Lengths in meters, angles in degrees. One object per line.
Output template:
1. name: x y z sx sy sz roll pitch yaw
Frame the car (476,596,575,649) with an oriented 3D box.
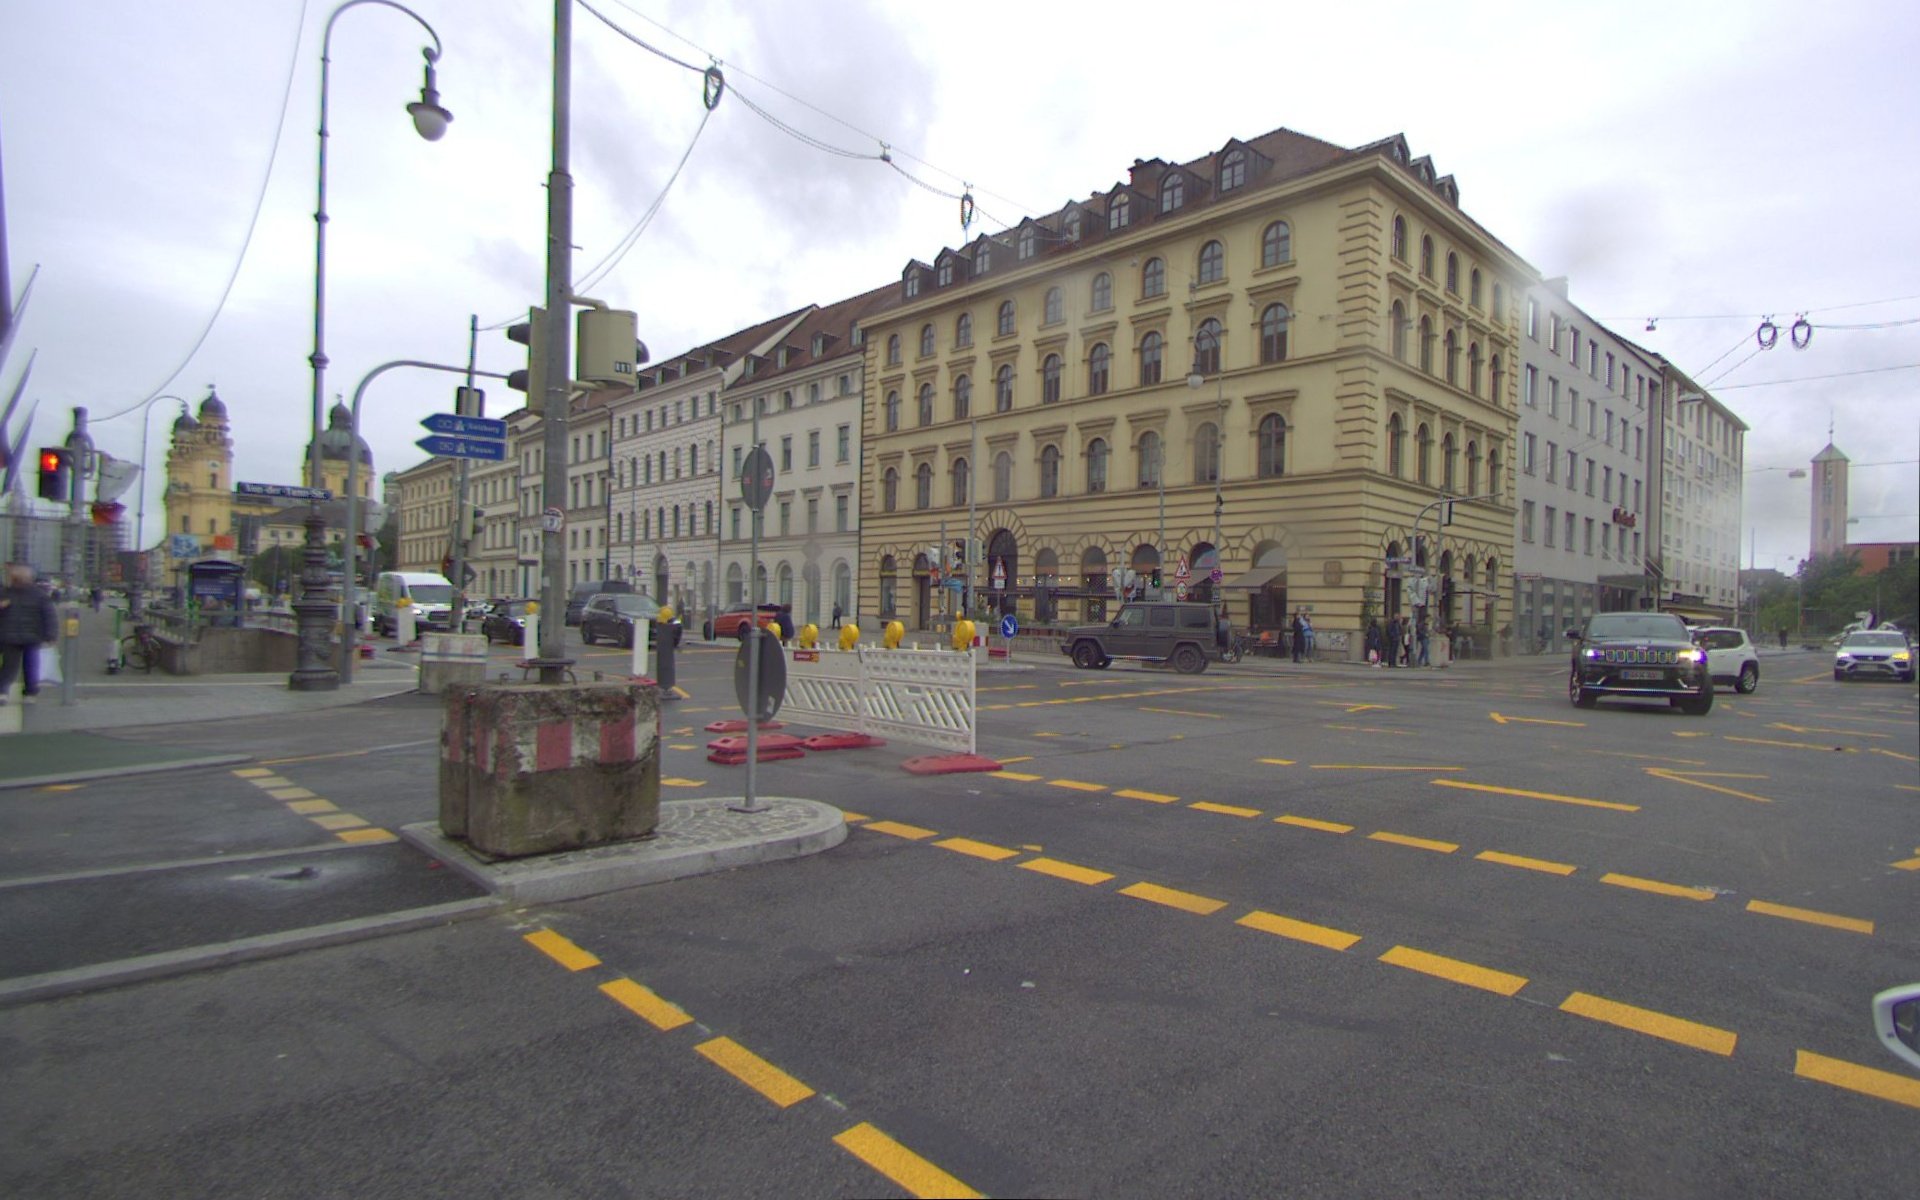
1. car: -14.967 0.743 34.510 1.789 1.615 3.947 2 1 -44

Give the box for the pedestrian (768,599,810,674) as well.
1. pedestrian: -4.252 0.894 24.906 0.729 1.795 0.731 2 1 -37

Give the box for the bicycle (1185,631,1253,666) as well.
1. bicycle: 8.812 1.643 34.196 2.156 1.114 0.600 1 0 23

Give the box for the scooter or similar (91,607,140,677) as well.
1. scooter or similar: -15.624 0.753 18.568 1.960 1.160 0.379 3 1 42

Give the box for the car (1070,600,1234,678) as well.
1. car: 5.562 1.067 28.947 4.362 2.040 2.245 1 0 19

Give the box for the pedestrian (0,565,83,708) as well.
1. pedestrian: -11.322 0.450 12.288 0.716 1.676 0.735 2 -3 44

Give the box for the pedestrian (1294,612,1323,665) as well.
1. pedestrian: 12.271 1.346 35.391 0.724 1.795 0.736 3 1 37

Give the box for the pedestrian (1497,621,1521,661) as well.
1. pedestrian: 25.286 1.884 46.263 0.731 1.795 0.729 1 1 -44

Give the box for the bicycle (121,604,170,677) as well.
1. bicycle: -15.358 0.736 18.926 1.960 1.259 0.379 3 1 42

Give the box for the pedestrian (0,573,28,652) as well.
1. pedestrian: -20.694 0.258 21.665 0.734 1.676 0.718 5 -2 -41

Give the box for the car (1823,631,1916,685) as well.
1. car: 29.232 1.801 32.231 4.205 1.544 1.974 2 -1 -44

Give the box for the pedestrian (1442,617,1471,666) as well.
1. pedestrian: 18.919 1.579 38.263 0.731 1.795 0.729 1 1 -44

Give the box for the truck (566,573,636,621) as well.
1. truck: -21.546 -0.178 60.168 2.206 2.698 4.723 2 -1 -43

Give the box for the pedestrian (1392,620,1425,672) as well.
1. pedestrian: 16.018 1.642 35.900 0.727 1.795 0.733 2 1 -30

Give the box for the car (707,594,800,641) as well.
1. car: -8.282 0.663 40.081 1.811 1.742 3.949 2 0 -43

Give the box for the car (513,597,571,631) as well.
1. car: -23.926 0.785 57.447 1.855 1.822 3.705 2 -1 -42

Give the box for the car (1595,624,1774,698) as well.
1. car: 18.101 1.487 25.094 4.174 1.700 1.789 2 -1 -24

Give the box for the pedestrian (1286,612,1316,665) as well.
1. pedestrian: 11.804 1.332 34.794 0.724 1.795 0.736 3 1 37

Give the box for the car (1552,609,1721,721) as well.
1. car: 12.276 1.084 18.536 1.964 1.757 4.580 1 -1 26

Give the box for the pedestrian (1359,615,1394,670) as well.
1. pedestrian: 13.956 1.408 33.672 0.750 1.795 0.732 2 1 -22

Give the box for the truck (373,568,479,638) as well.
1. truck: -20.768 0.105 38.944 2.103 2.513 5.782 2 0 -44

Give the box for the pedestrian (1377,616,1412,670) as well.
1. pedestrian: 14.678 1.450 33.925 0.728 1.795 0.732 2 1 -22

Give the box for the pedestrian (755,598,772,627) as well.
1. pedestrian: -12.340 0.796 63.077 0.734 1.795 0.726 2 0 -44

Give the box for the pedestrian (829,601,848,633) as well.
1. pedestrian: -7.029 0.983 58.191 0.734 1.795 0.726 2 0 -44

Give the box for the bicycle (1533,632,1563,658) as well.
1. bicycle: 29.021 2.214 49.599 2.182 1.259 0.593 1 1 -42

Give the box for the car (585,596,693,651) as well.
1. car: -10.932 0.775 34.069 1.986 1.706 3.949 2 0 -43

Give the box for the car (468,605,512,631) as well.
1. car: -34.338 1.303 73.347 1.811 1.742 3.949 2 0 -43
